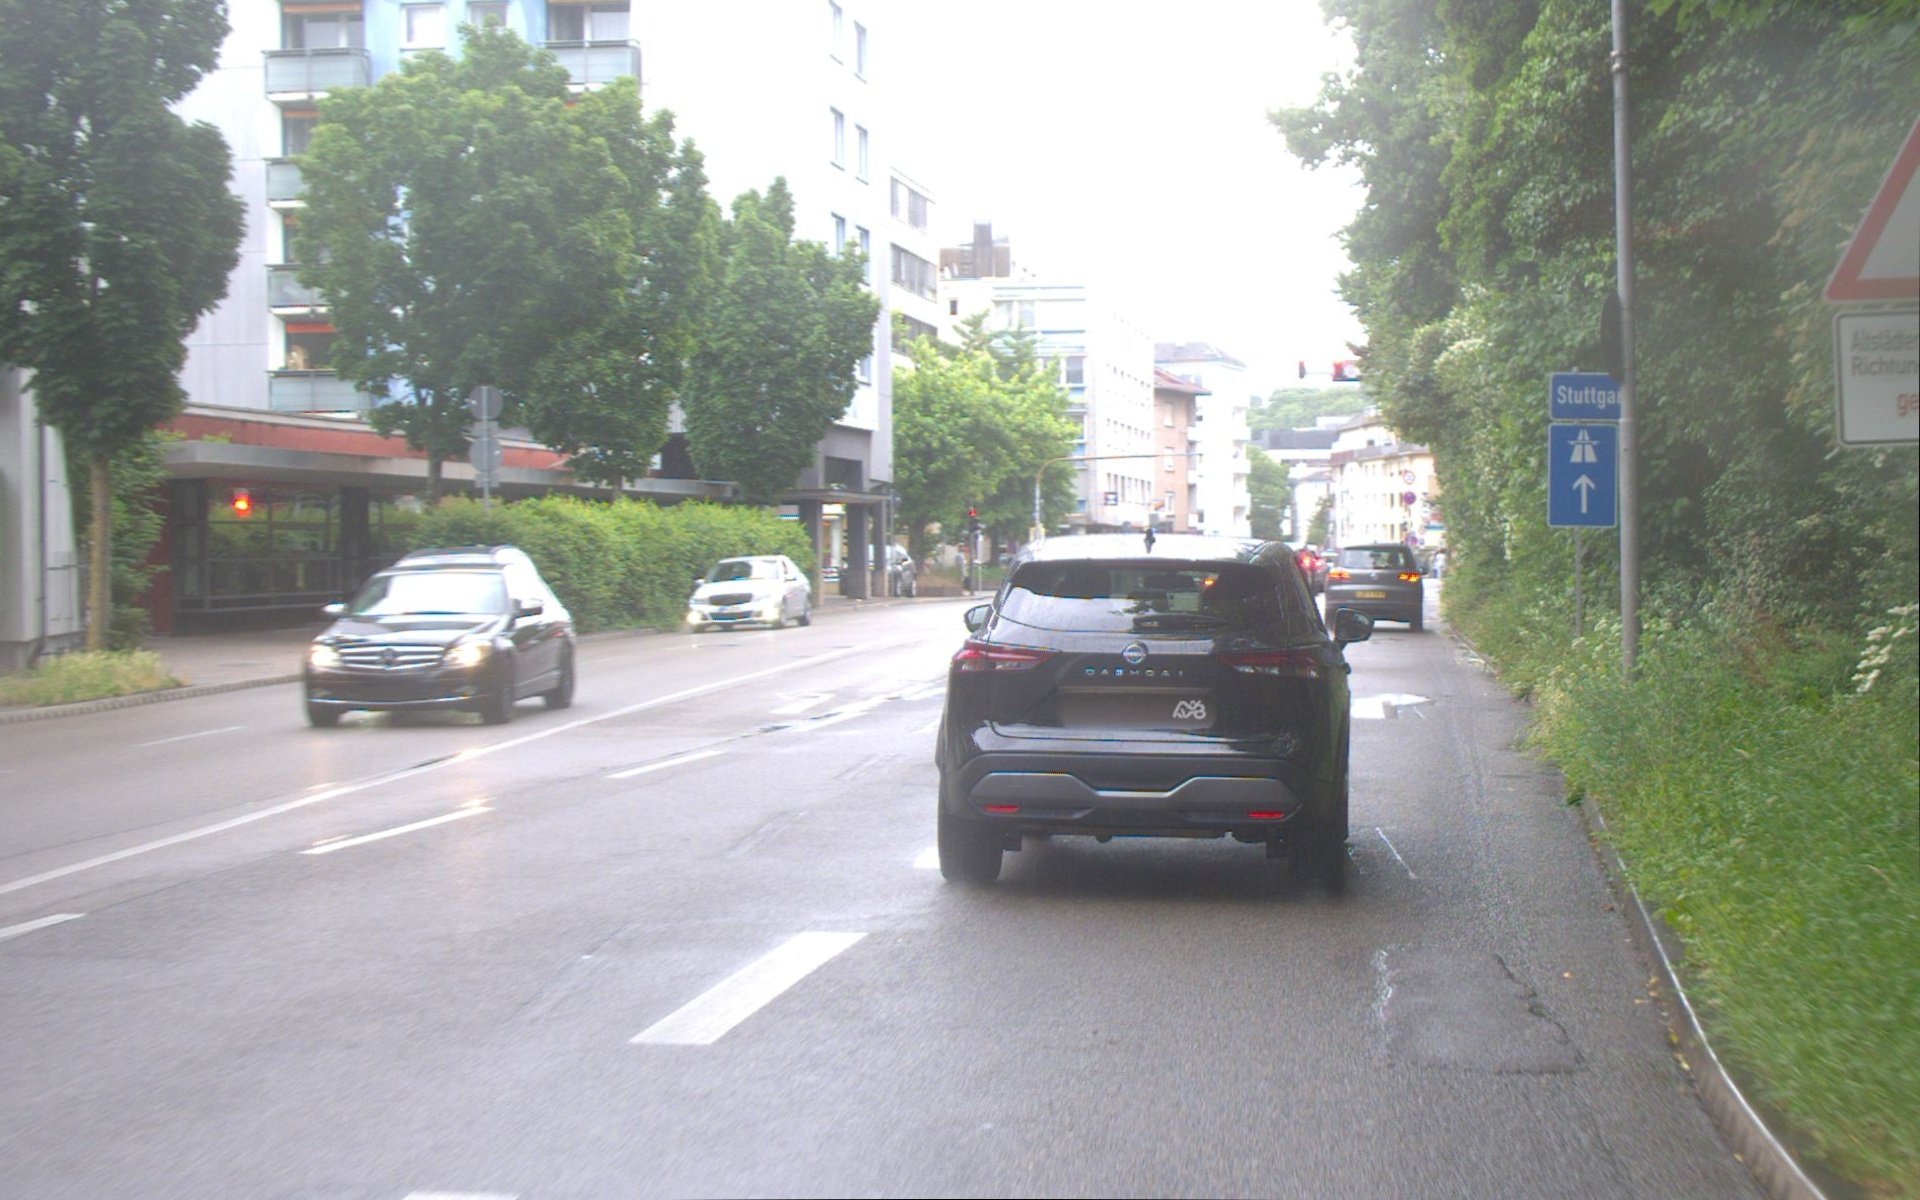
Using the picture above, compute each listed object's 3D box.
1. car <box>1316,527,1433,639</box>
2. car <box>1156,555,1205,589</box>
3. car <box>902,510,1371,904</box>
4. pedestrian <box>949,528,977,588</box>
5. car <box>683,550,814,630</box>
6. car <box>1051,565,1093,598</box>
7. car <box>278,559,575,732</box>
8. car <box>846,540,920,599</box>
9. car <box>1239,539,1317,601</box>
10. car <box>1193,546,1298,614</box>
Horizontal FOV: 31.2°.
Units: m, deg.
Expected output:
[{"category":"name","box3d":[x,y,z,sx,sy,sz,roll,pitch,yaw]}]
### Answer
[{"category":"car","box3d":[7.725,-0.344,63.863,1.994,2.007,3.999,0,1,9]},{"category":"car","box3d":[9.958,-1.282,155.600,1.993,1.448,4.000,-1,1,1]},{"category":"car","box3d":[0.914,0.405,16.474,1.960,1.647,4.000,0,1,5]},{"category":"pedestrian","box3d":[0.102,-1.429,117.091,0.940,2.007,0.886,0,1,-1]},{"category":"car","box3d":[-4.006,-0.216,65.793,1.874,1.386,4.626,-2,1,4]},{"category":"car","box3d":[5.214,-0.883,159.887,1.673,1.473,3.607,-2,0,6]},{"category":"car","box3d":[-4.758,0.360,31.270,1.841,1.380,4.360,-2,1,2]},{"category":"car","box3d":[-2.272,-0.928,102.379,1.540,1.700,4.286,1,1,8]},{"category":"car","box3d":[7.914,-0.757,85.335,1.744,1.482,4.160,-1,1,7]},{"category":"car","box3d":[6.410,-0.471,76.762,2.067,1.459,4.585,0,1,8]}]
